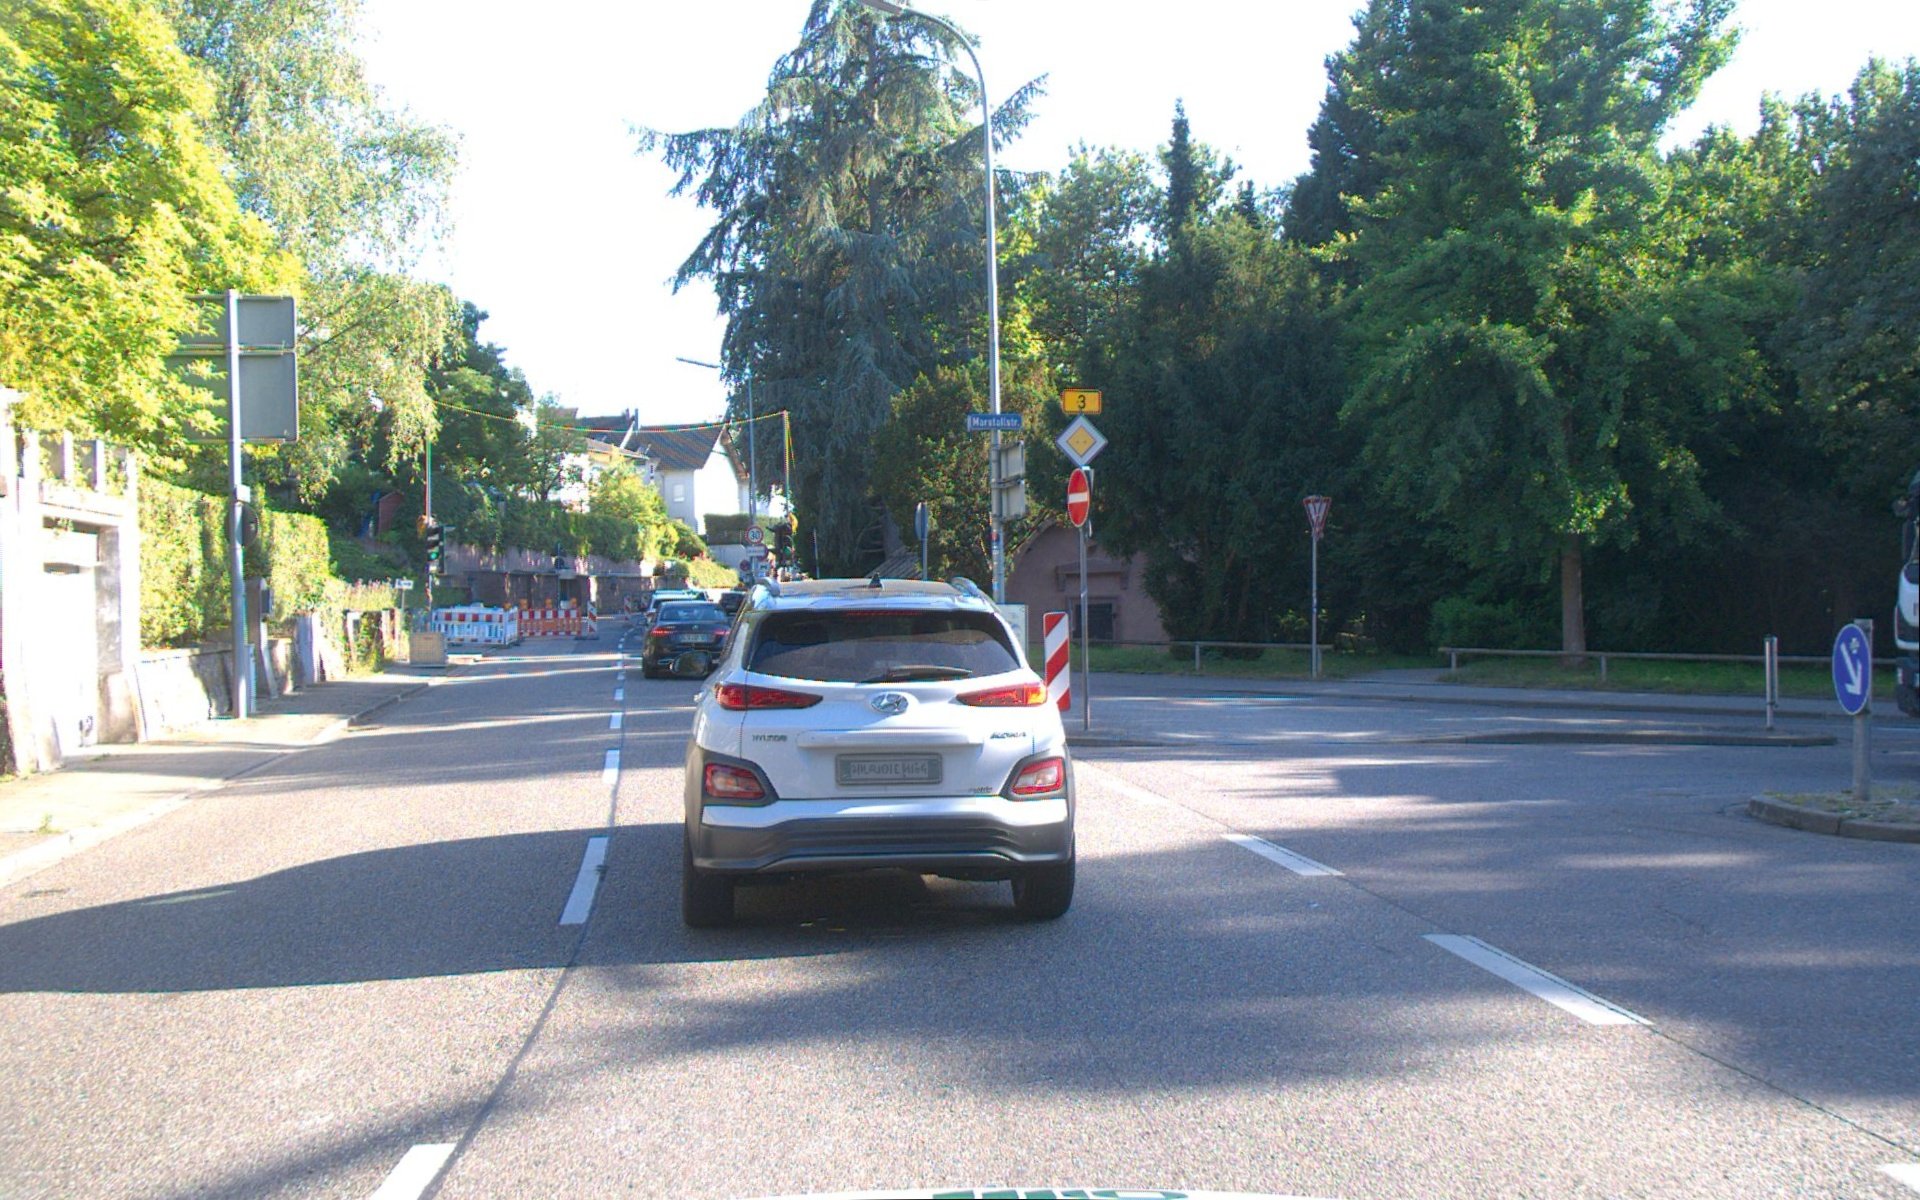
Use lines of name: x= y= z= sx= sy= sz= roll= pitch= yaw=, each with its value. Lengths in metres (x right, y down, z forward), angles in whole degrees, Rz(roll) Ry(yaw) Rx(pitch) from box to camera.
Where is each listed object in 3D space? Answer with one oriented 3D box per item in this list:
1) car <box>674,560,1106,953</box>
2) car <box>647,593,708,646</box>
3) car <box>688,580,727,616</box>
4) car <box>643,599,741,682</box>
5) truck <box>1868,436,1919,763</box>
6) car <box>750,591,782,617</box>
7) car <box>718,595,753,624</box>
car: x=-0.532 y=0.631 z=8.848 sx=1.786 sy=1.601 sz=3.993 roll=1 pitch=0 yaw=-8
car: x=-8.935 y=0.583 z=52.128 sx=1.773 sy=1.564 sz=3.989 roll=1 pitch=0 yaw=-11
car: x=-12.699 y=-0.121 z=83.367 sx=1.796 sy=1.771 sz=3.994 roll=1 pitch=0 yaw=-7
car: x=-5.313 y=0.744 z=32.385 sx=1.678 sy=1.459 sz=4.352 roll=1 pitch=0 yaw=-12
truck: x=11.842 y=0.028 z=14.397 sx=6.446 sy=2.945 sz=2.435 roll=1 pitch=0 yaw=11
car: x=-13.335 y=0.267 z=113.927 sx=1.794 sy=1.691 sz=3.999 roll=1 pitch=0 yaw=-1
car: x=-13.503 y=0.550 z=99.622 sx=1.795 sy=1.691 sz=3.997 roll=0 pitch=0 yaw=-4
